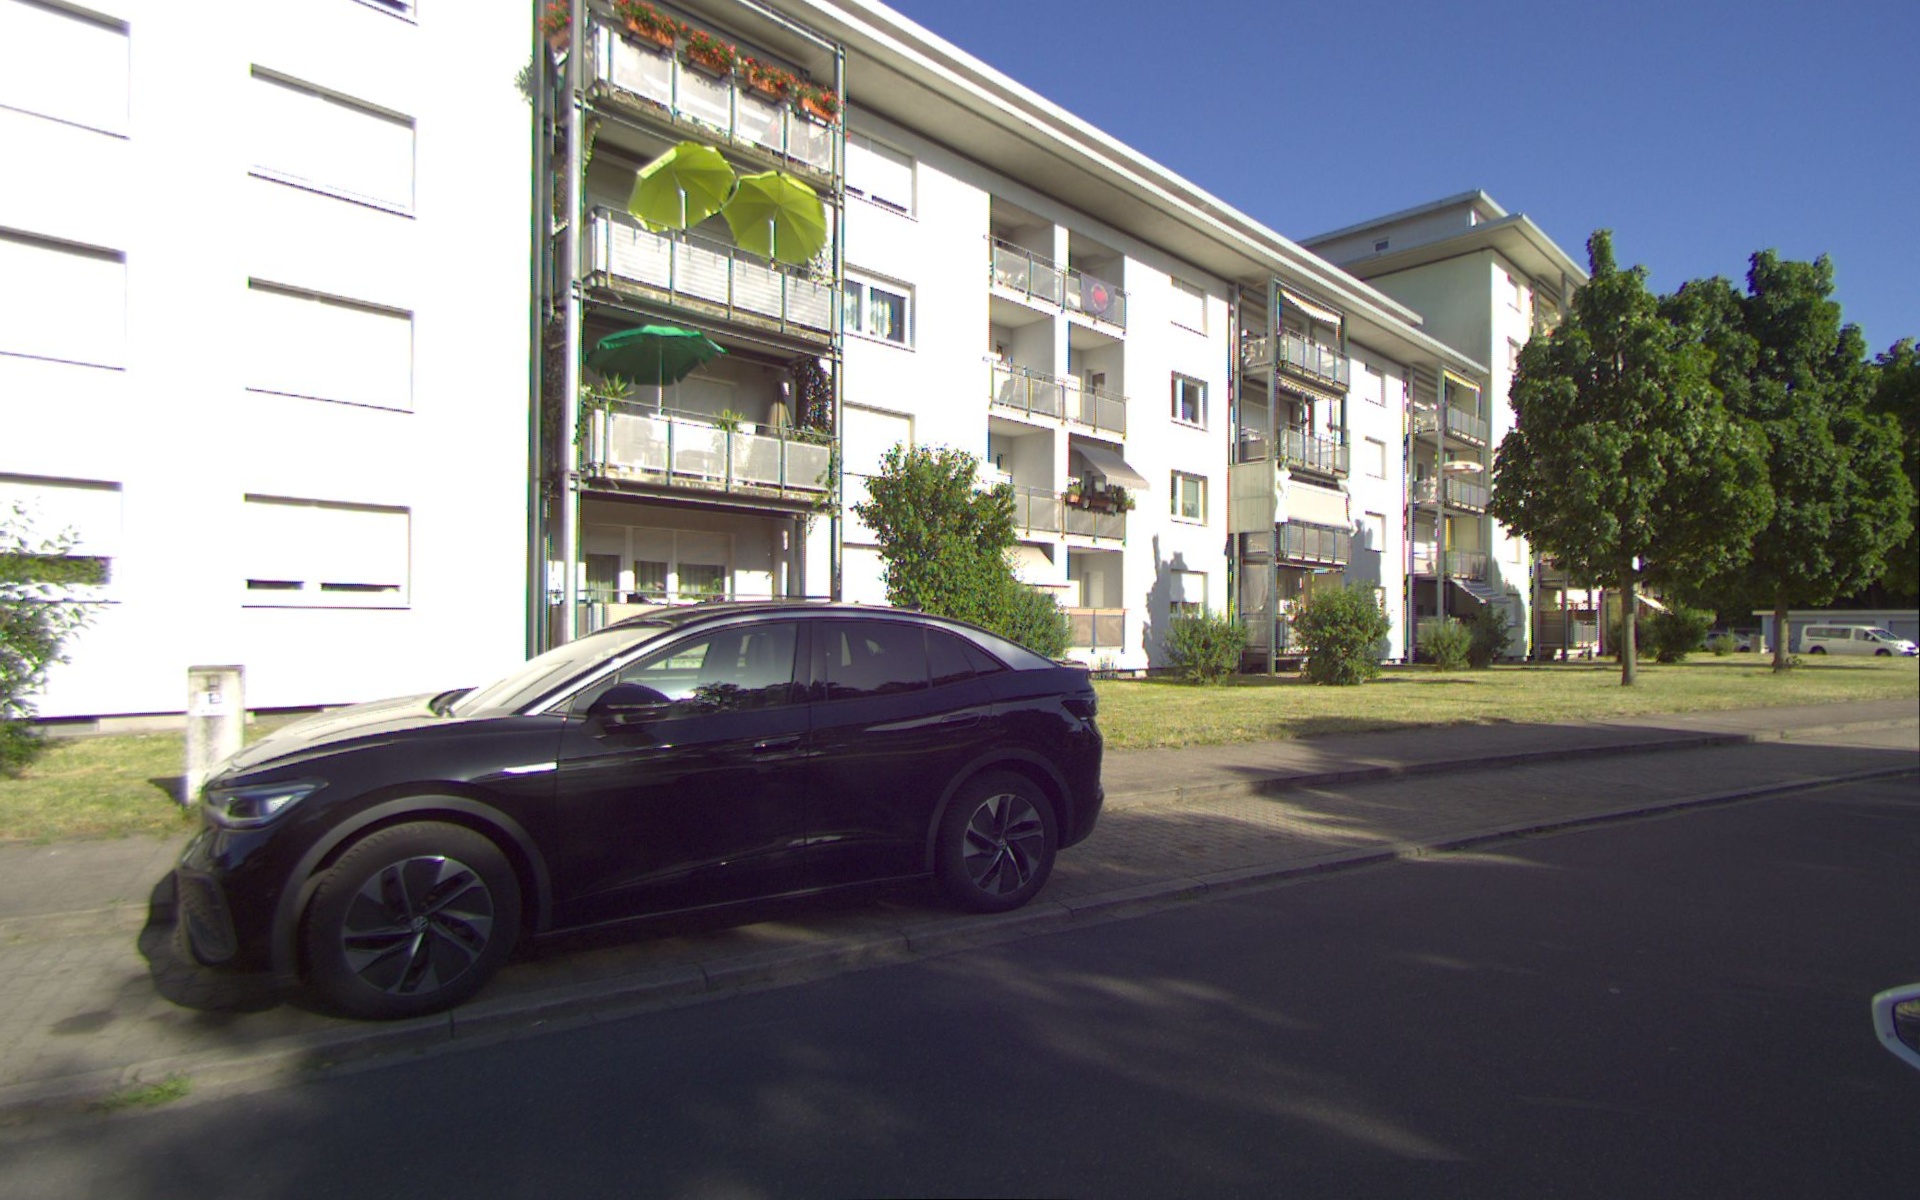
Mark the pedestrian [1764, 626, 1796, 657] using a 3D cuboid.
[{"bbox_3d":[55.125,2.793,67.525,1.086,2.040,1.463,1,-2,-37],"label":"pedestrian"}]

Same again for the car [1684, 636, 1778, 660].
[{"bbox_3d":[49.908,3.062,65.136,1.974,1.480,4.428,1,-2,-26],"label":"car"}]

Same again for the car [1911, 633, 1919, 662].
[{"bbox_3d":[52.303,2.460,51.729,2.012,1.480,4.436,1,-2,-21],"label":"car"}]

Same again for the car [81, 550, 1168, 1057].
[{"bbox_3d":[-1.302,0.732,5.332,4.759,1.625,1.904,2,-2,-32],"label":"car"}]

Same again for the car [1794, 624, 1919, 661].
[{"bbox_3d":[50.576,2.372,56.594,2.203,1.976,5.100,1,-2,-20],"label":"car"}]
